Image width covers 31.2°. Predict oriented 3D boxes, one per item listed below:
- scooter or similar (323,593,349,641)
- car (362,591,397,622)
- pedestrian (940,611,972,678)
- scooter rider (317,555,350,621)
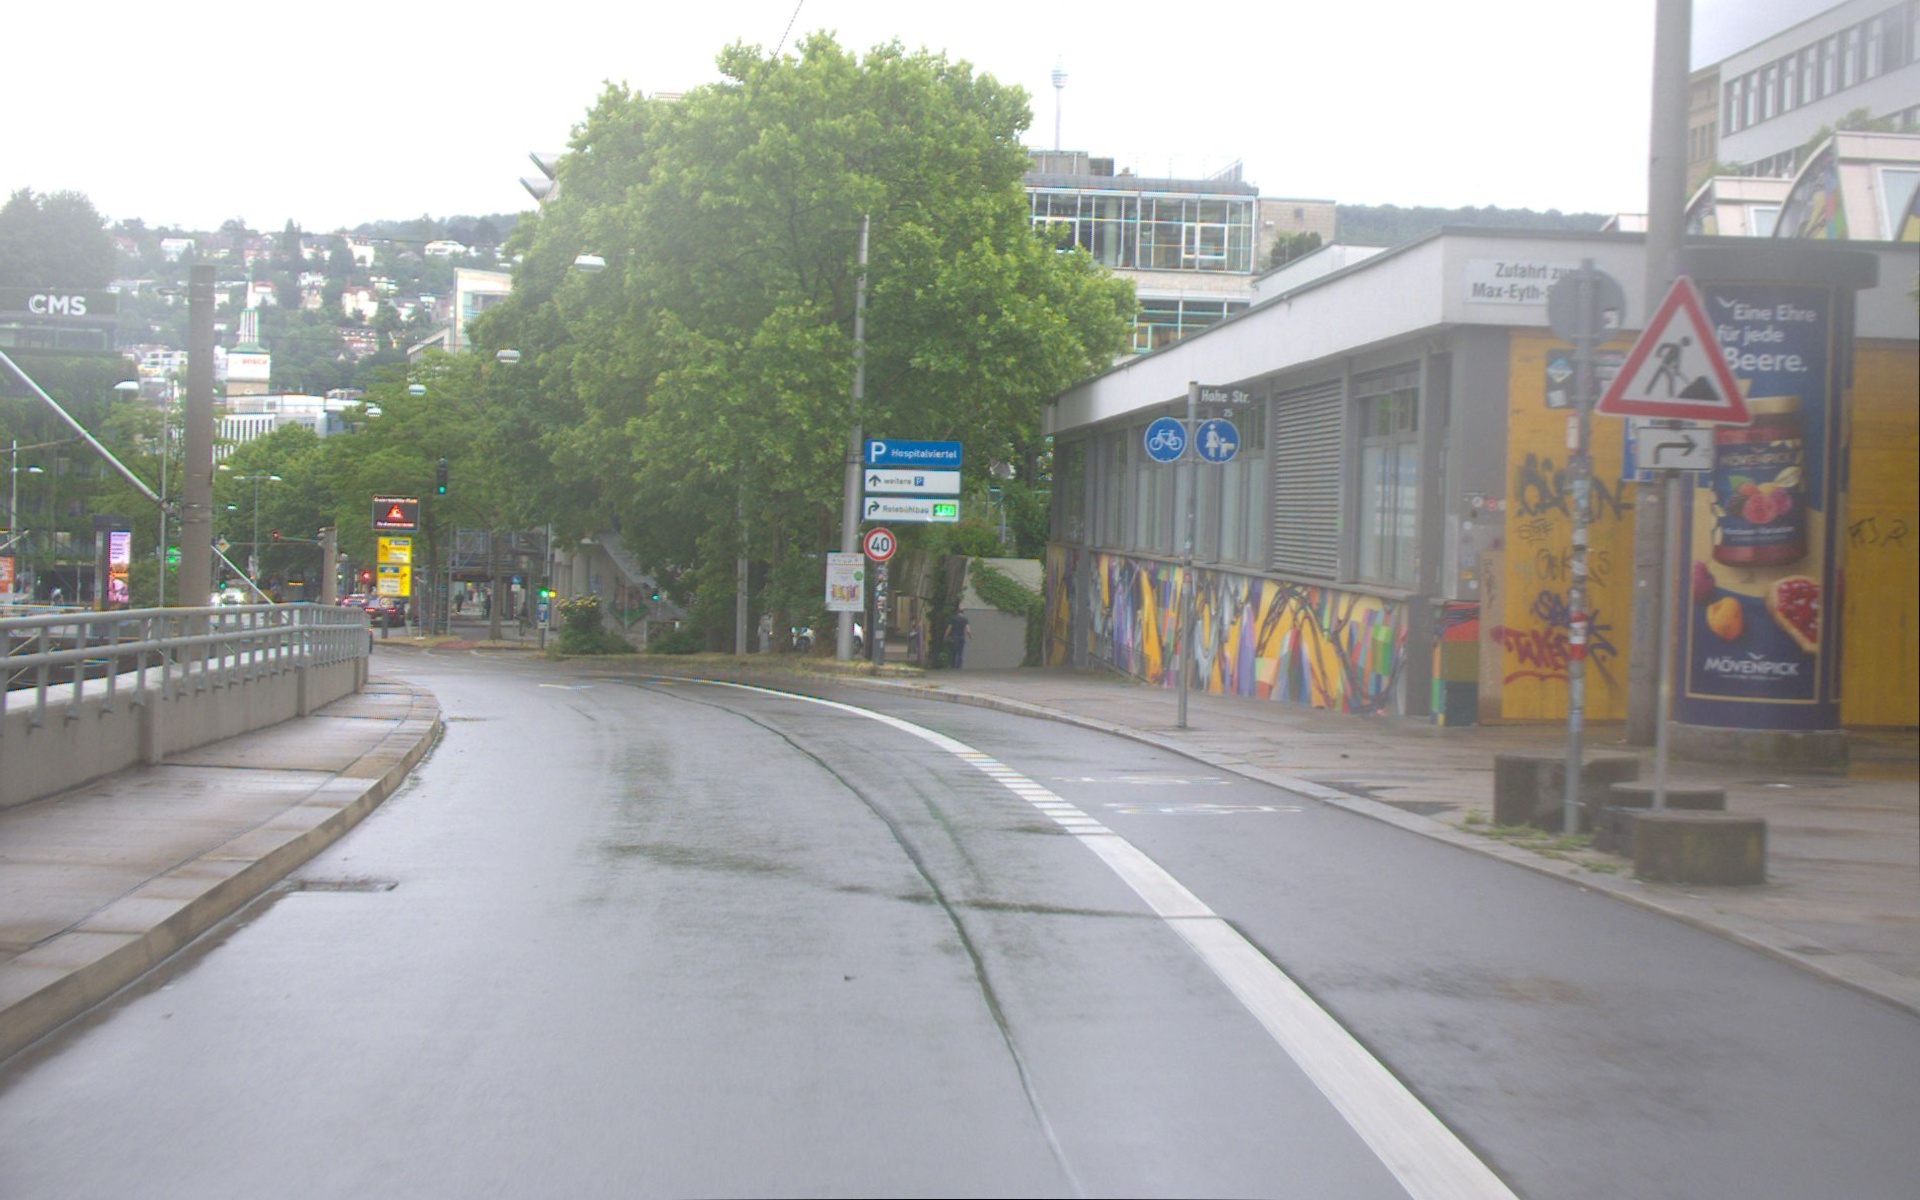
[{"bbox_3d":[-18.734,0.495,103.166,0.546,1.414,1.956,2,-1,-16],"label":"scooter or similar"},{"bbox_3d":[-33.352,0.378,197.481,1.901,1.678,3.912,2,-1,-10],"label":"car"},{"bbox_3d":[-0.122,1.231,95.986,0.807,1.858,1.056,0,-1,-5],"label":"pedestrian"},{"bbox_3d":[-18.797,-0.360,103.152,0.808,1.941,0.822,2,-1,-17],"label":"scooter rider"}]
